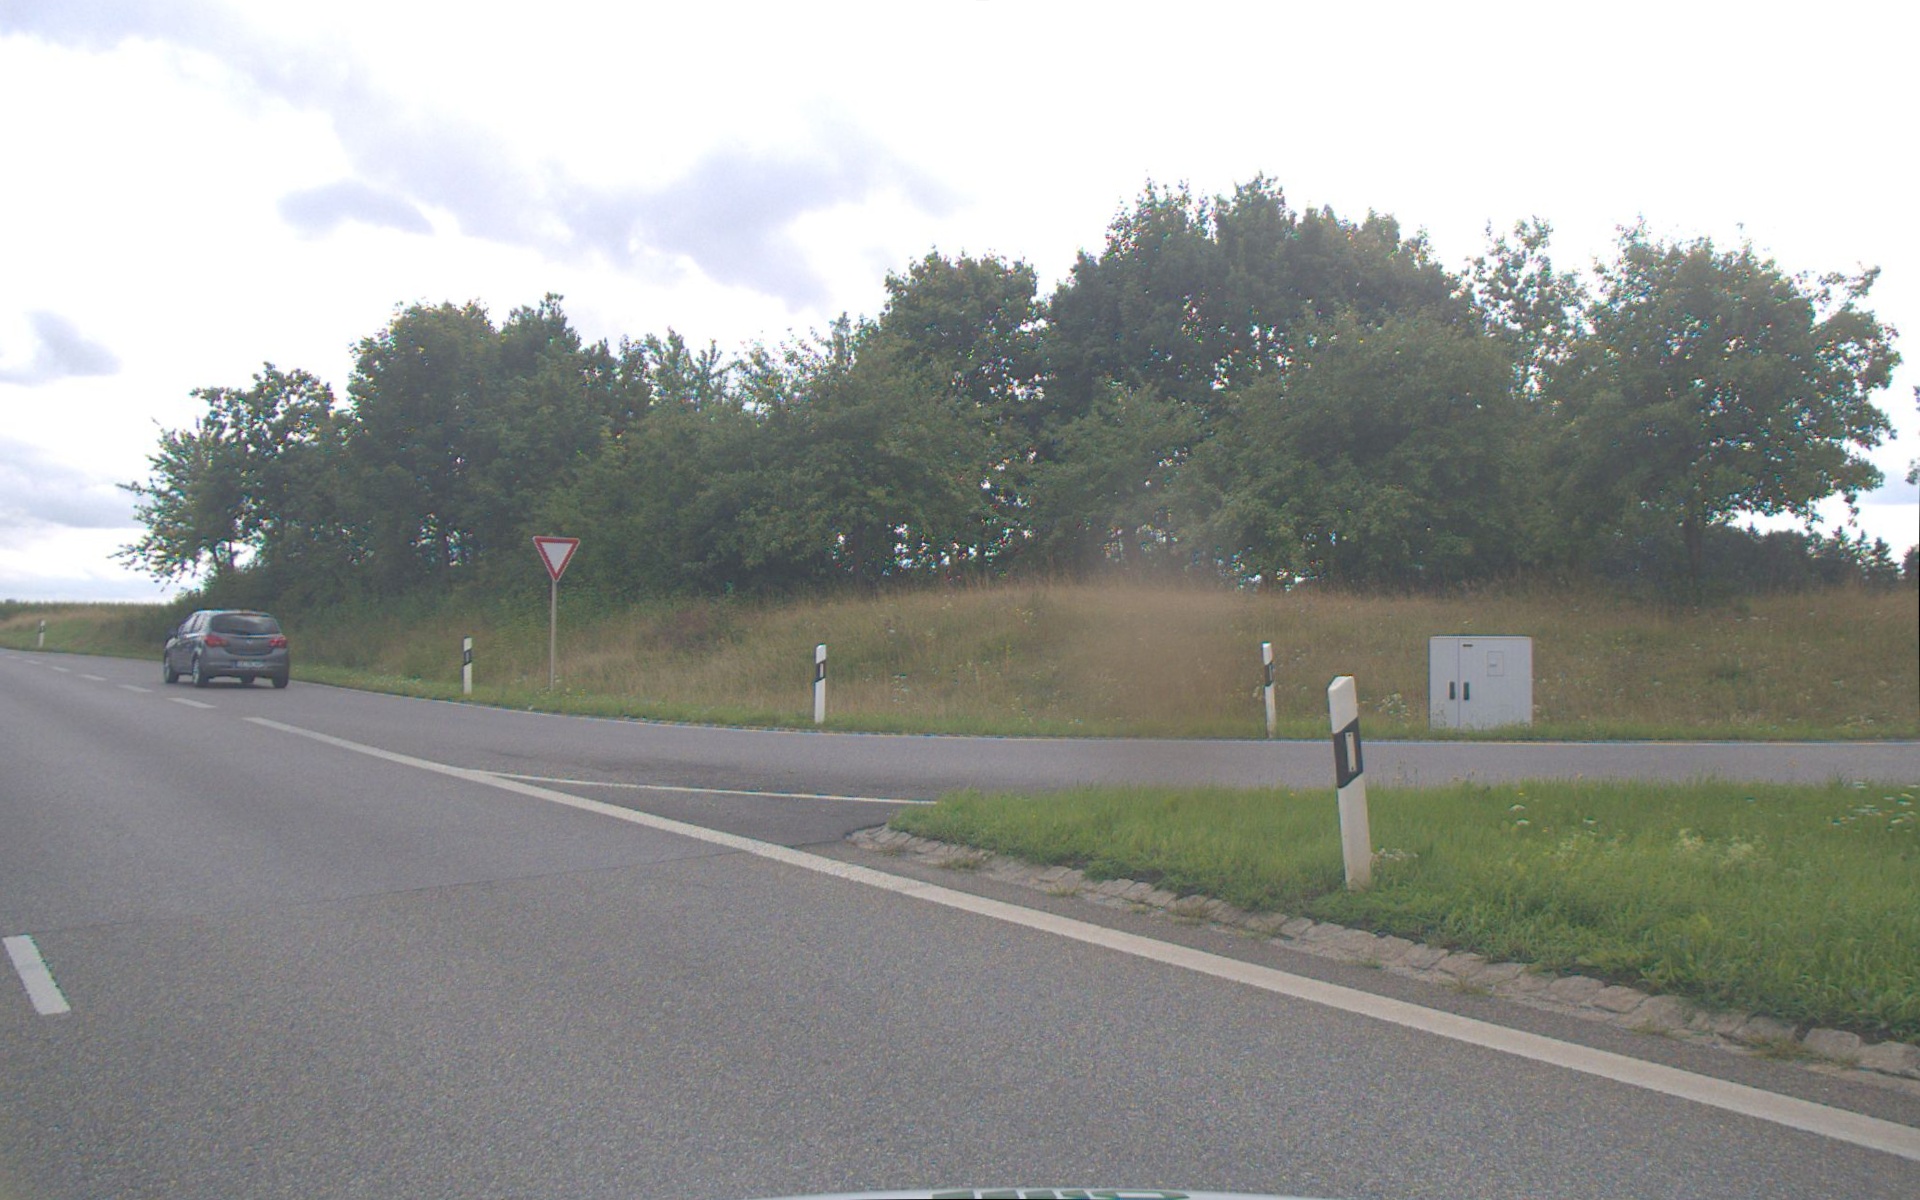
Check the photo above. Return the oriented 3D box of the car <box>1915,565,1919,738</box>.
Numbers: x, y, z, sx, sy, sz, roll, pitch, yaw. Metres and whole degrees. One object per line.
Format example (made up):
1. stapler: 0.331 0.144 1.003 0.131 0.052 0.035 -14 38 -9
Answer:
1. car: 11.066 0.465 14.108 4.639 1.598 2.002 0 0 8

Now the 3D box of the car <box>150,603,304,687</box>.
1. car: -14.660 0.861 32.962 1.979 1.562 3.947 1 -1 -37
